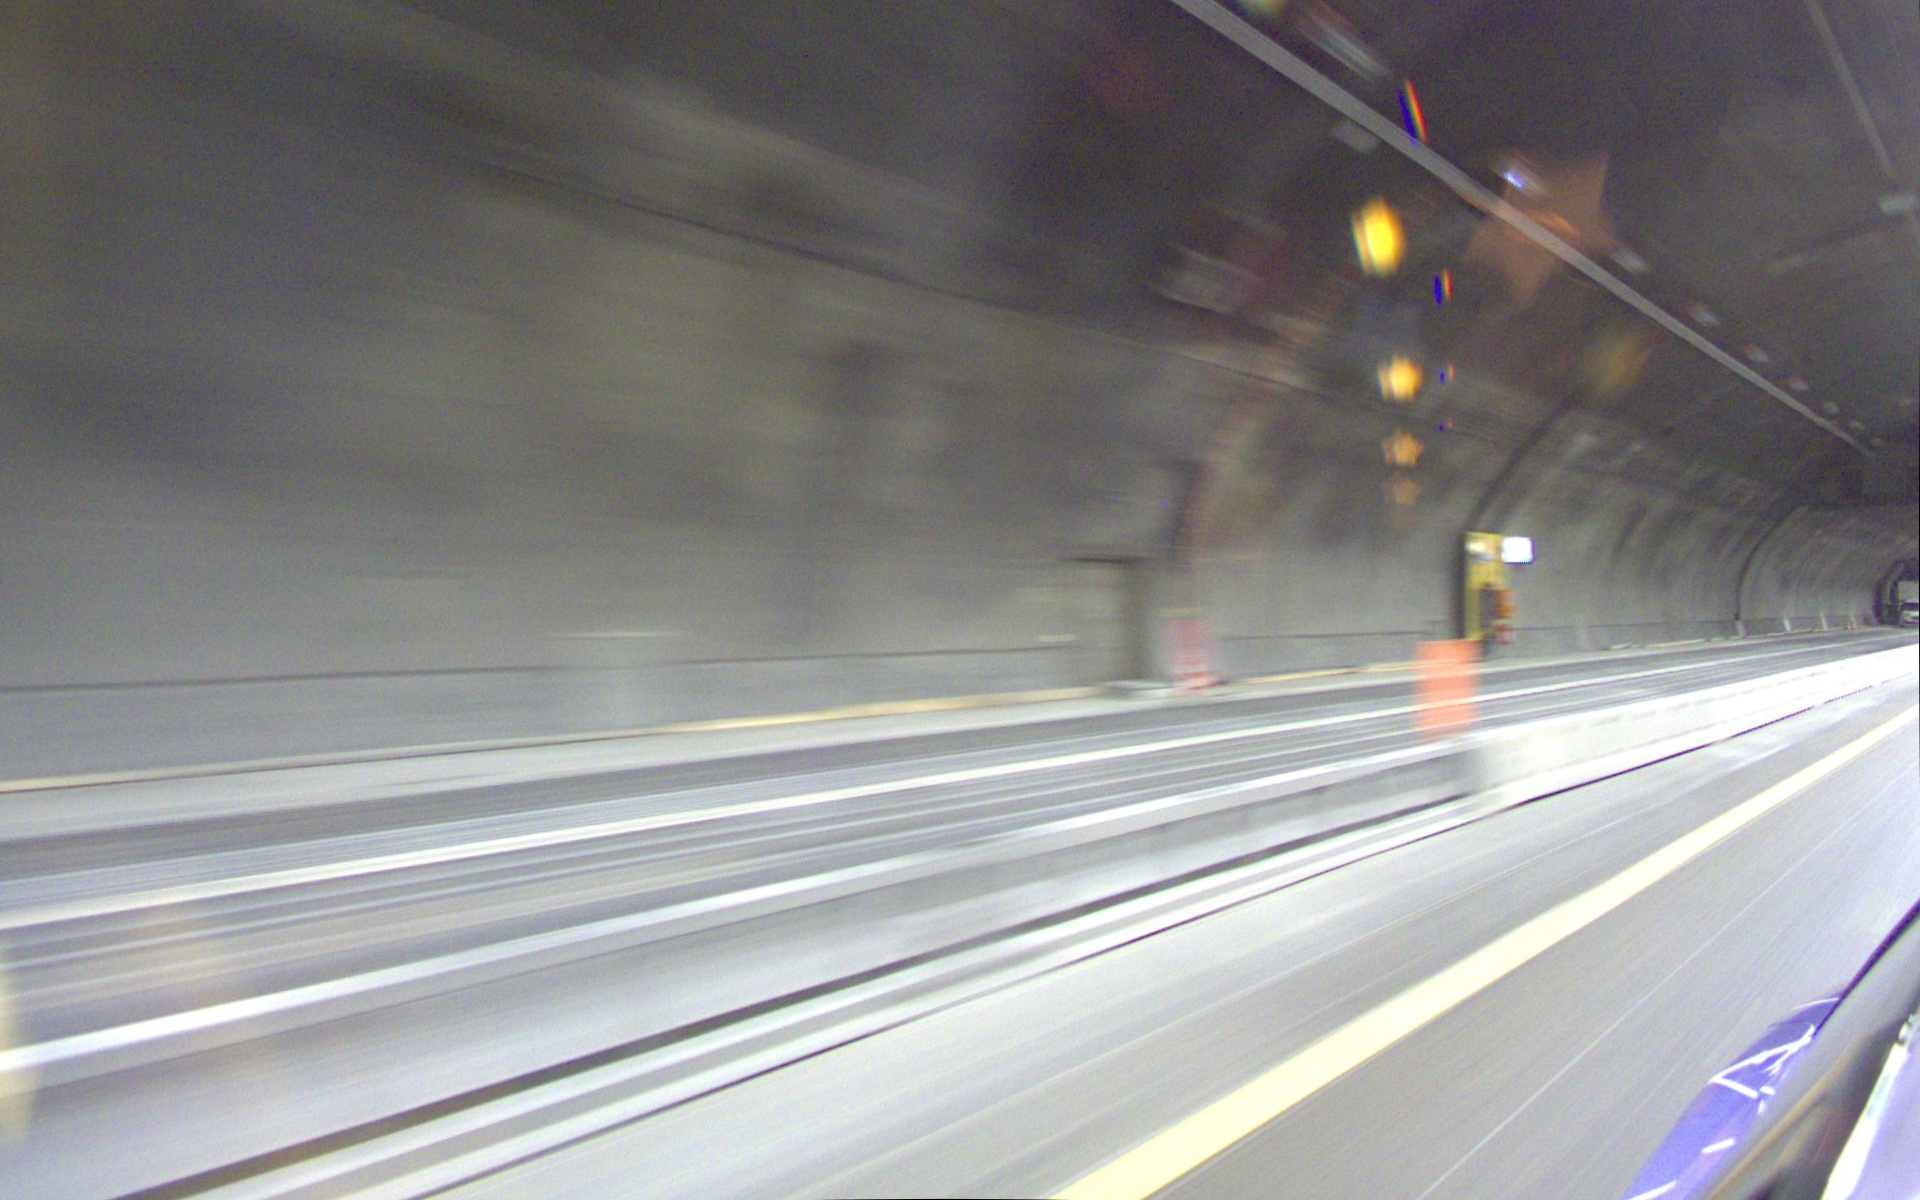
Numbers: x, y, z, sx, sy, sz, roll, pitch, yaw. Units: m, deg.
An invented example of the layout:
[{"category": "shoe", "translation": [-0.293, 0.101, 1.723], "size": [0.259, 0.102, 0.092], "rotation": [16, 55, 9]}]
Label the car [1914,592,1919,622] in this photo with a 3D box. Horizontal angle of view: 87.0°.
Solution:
[{"category": "car", "translation": [60.910, 0.456, 63.213], "size": [1.752, 1.868, 4.570], "rotation": [1, 1, 45]}]
